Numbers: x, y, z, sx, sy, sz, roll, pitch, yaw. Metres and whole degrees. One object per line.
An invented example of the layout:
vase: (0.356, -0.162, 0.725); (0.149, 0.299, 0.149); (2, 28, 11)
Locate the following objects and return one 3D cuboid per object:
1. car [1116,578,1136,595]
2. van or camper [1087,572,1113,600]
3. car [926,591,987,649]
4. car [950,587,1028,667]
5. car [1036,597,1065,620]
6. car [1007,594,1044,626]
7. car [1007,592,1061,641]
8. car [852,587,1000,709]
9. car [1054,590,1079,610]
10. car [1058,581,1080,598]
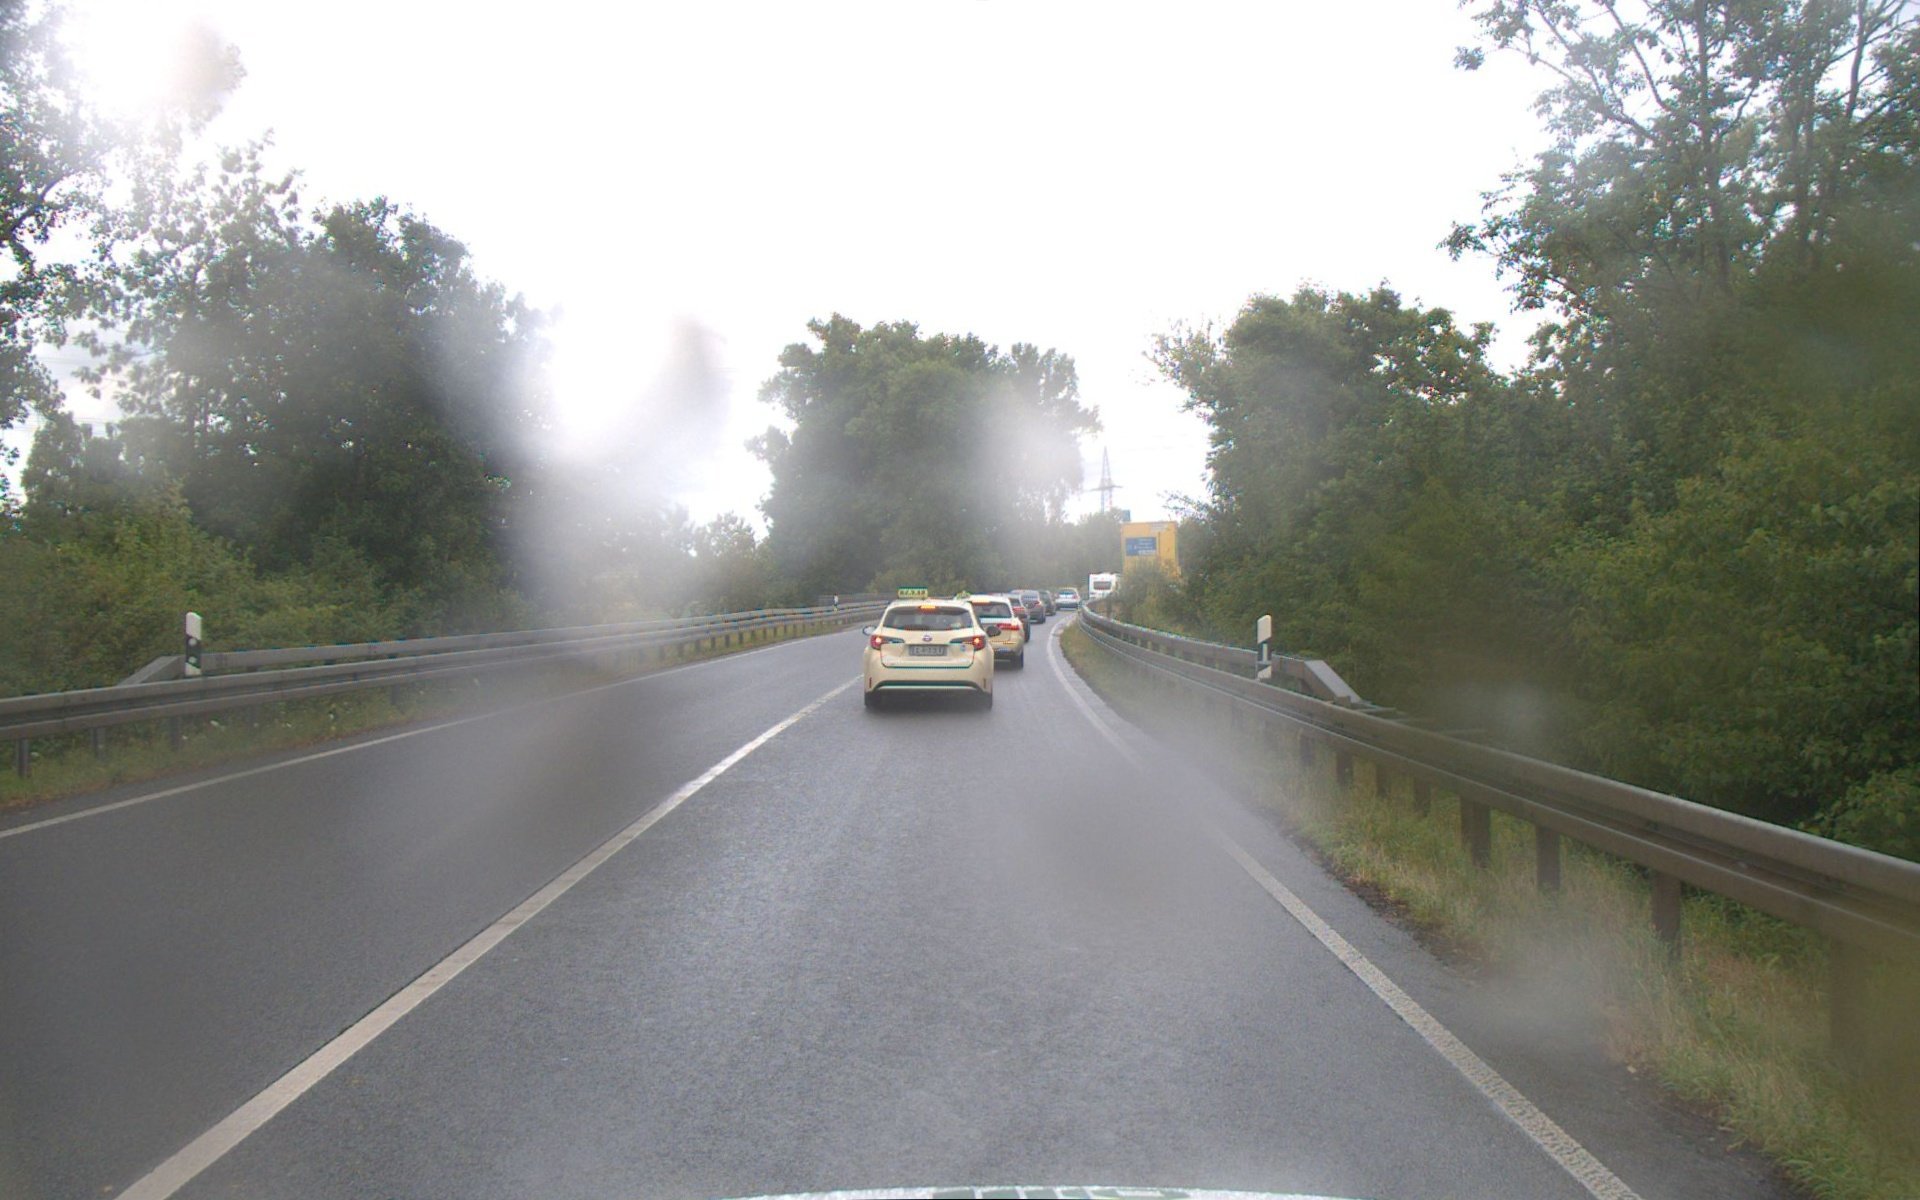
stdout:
car: (16.315, -1.361, 162.374); (1.611, 1.613, 3.686); (1, 0, 12)
van or camper: (11.966, -1.159, 141.119); (1.951, 2.293, 4.003); (1, 0, 7)
car: (-0.064, 0.514, 44.151); (1.474, 1.462, 3.356); (1, 0, 2)
car: (0.659, 0.538, 35.040); (1.545, 1.600, 3.682); (0, 0, 3)
car: (5.175, 0.471, 94.661); (1.451, 1.332, 3.479); (0, 0, 7)
car: (3.039, 0.485, 76.414); (1.625, 1.434, 3.906); (0, -1, 4)
car: (2.332, 0.501, 52.832); (1.631, 1.489, 3.477); (0, 0, 1)
car: (-0.384, 0.607, 23.271); (1.866, 1.564, 4.162); (0, 0, 2)
car: (7.188, -0.013, 111.619); (1.451, 1.332, 3.479); (0, 0, 7)
car: (8.000, -0.742, 121.245); (1.343, 1.222, 3.319); (1, 0, 9)
